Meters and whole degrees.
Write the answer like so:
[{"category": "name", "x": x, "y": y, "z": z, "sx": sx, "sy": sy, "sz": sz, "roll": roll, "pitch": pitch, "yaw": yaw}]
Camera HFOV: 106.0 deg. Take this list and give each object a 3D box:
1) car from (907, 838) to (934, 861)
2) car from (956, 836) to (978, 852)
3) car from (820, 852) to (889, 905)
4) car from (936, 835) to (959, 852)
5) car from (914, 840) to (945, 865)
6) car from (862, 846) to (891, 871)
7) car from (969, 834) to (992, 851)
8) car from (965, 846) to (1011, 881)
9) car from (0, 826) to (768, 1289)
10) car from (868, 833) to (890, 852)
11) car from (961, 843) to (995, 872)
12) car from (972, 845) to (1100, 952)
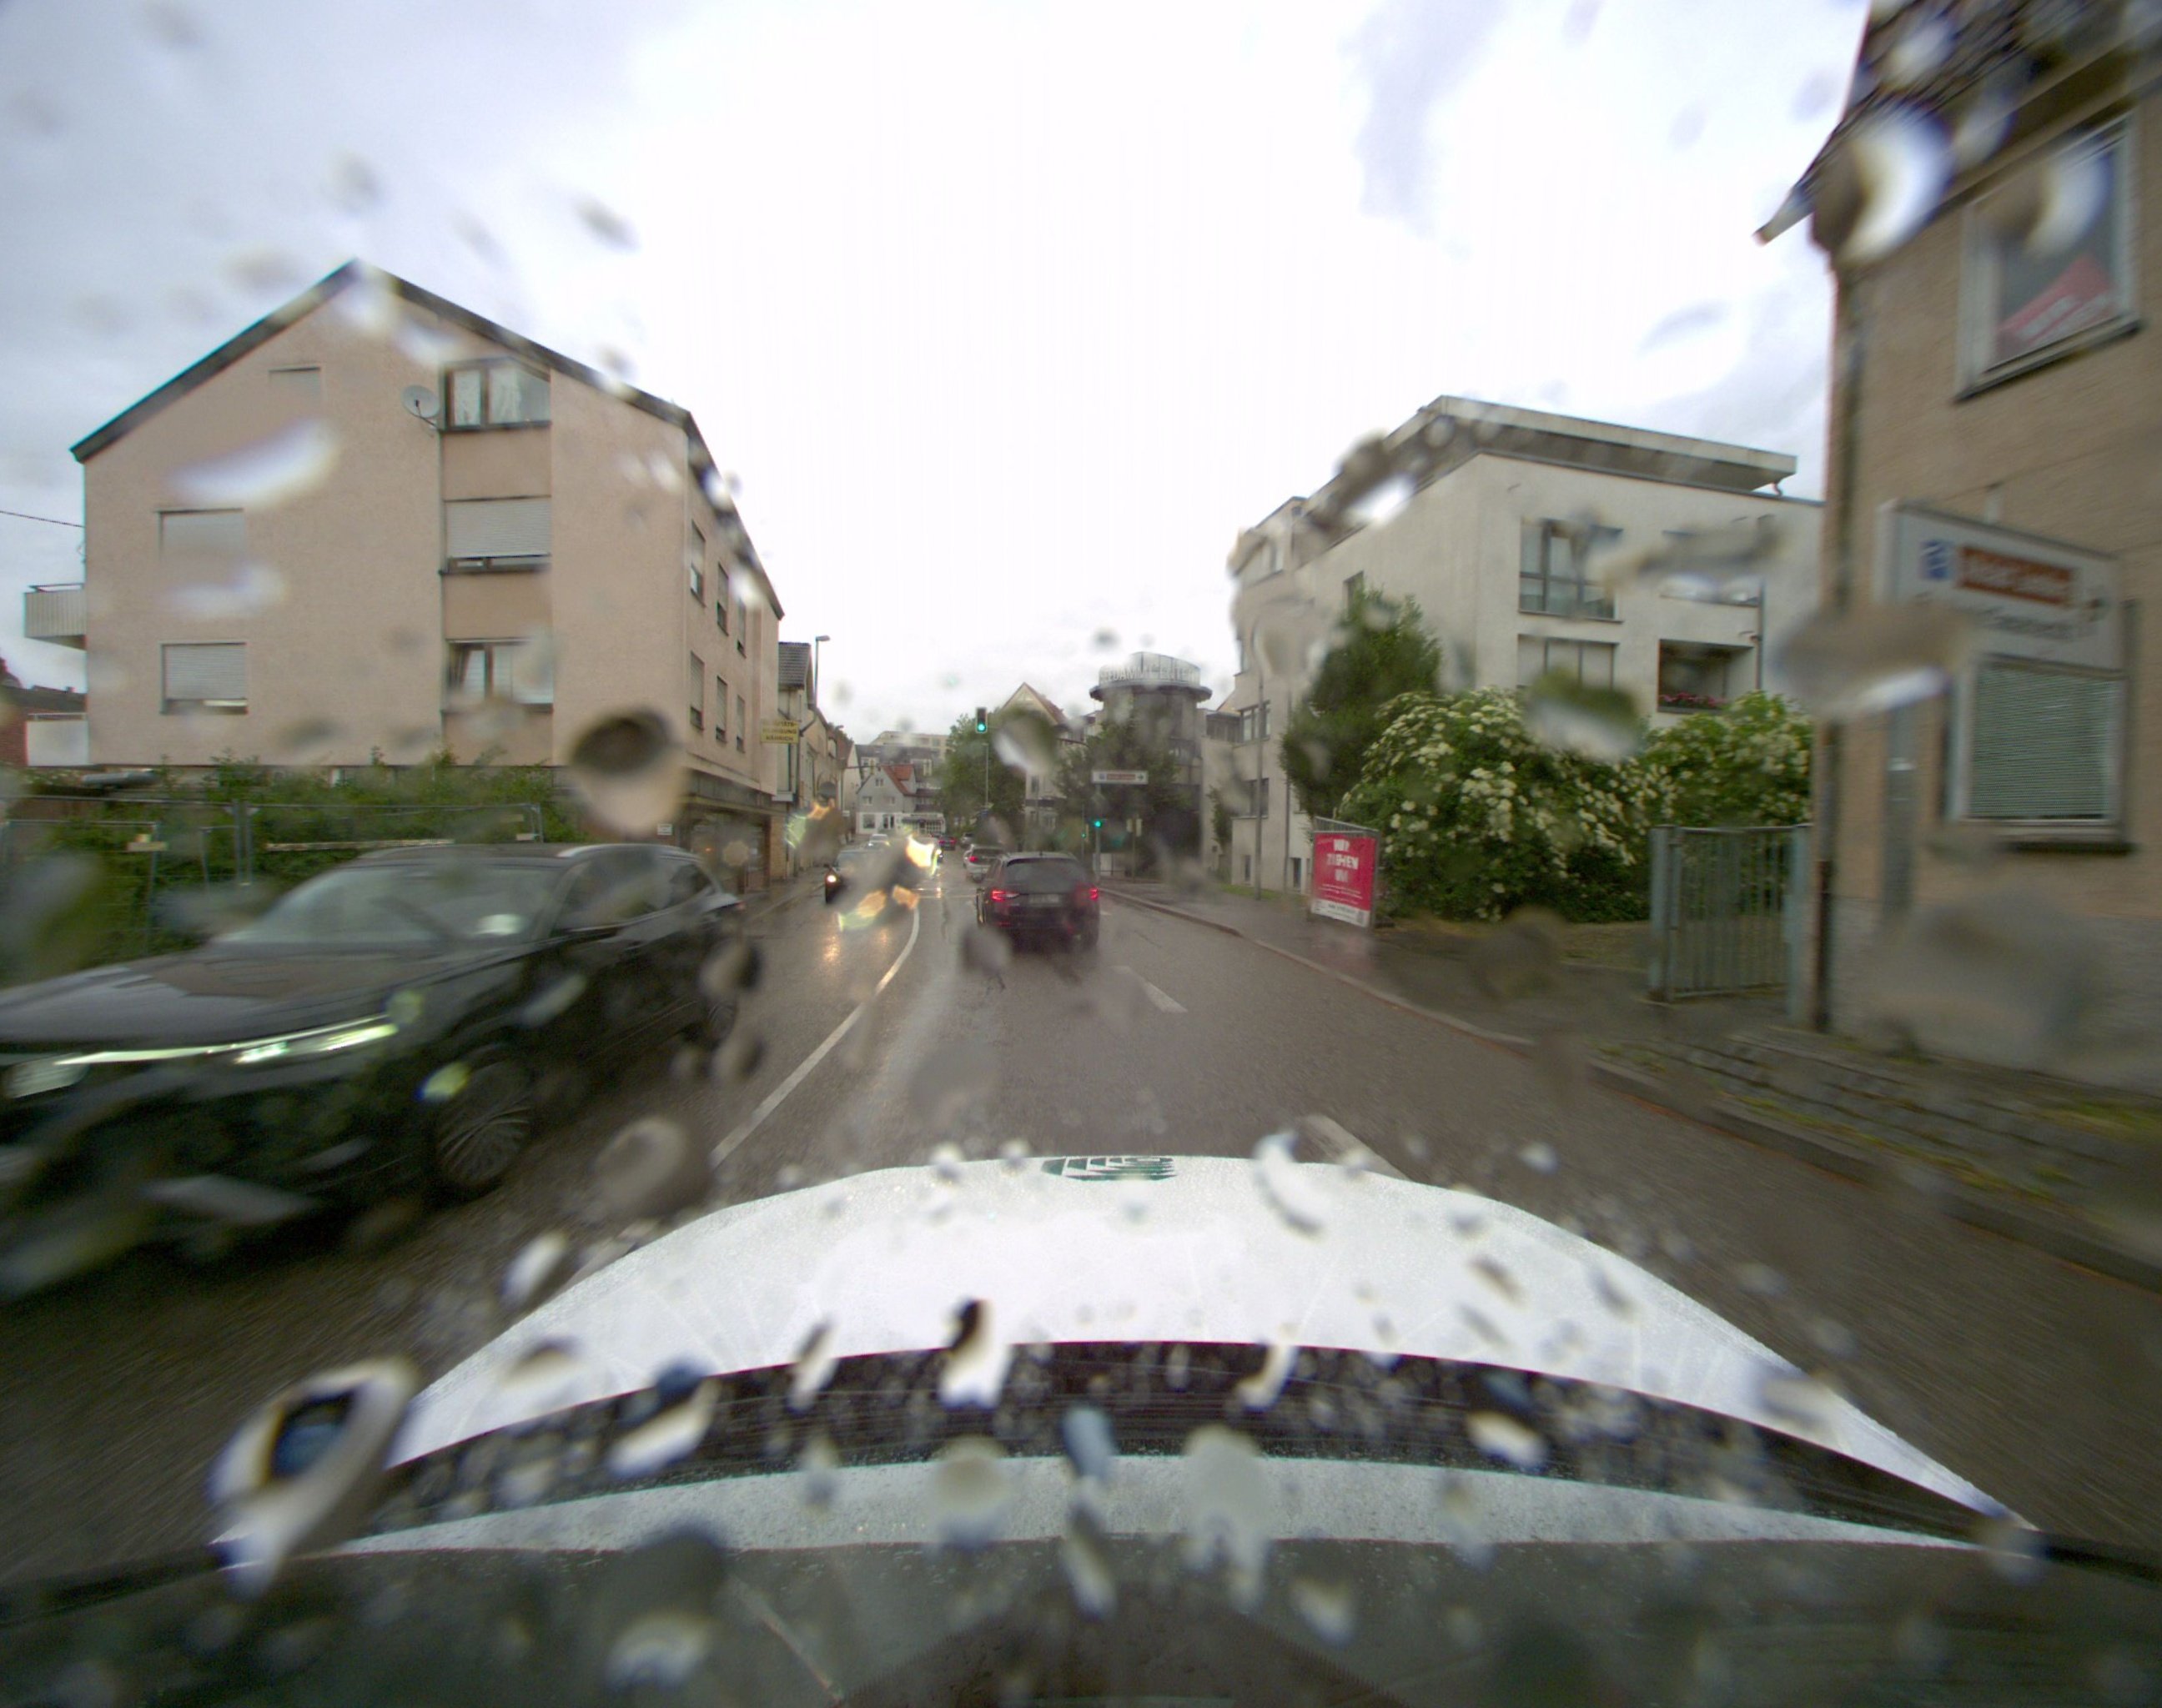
[{"category": "car", "x": -12.344, "y": -0.374, "z": 62.483, "sx": 1.787, "sy": 1.562, "sz": 4.381, "roll": 1, "pitch": 2, "yaw": -14}, {"category": "car", "x": -12.308, "y": -1.093, "z": 87.790, "sx": 1.856, "sy": 1.641, "sz": 3.851, "roll": -1, "pitch": 2, "yaw": -16}, {"category": "car", "x": -6.596, "y": 0.649, "z": 23.838, "sx": 1.773, "sy": 1.402, "sz": 3.899, "roll": -1, "pitch": 0, "yaw": -15}, {"category": "car", "x": -13.298, "y": -1.025, "z": 81.095, "sx": 1.896, "sy": 1.590, "sz": 3.670, "roll": -1, "pitch": 1, "yaw": -15}, {"category": "car", "x": -10.543, "y": -0.120, "z": 56.412, "sx": 1.787, "sy": 1.562, "sz": 4.381, "roll": 1, "pitch": 2, "yaw": -14}, {"category": "car", "x": -12.843, "y": 0.272, "z": 51.256, "sx": 1.692, "sy": 1.372, "sz": 4.095, "roll": -1, "pitch": 2, "yaw": -13}, {"category": "car", "x": -10.153, "y": -1.173, "z": 82.059, "sx": 1.856, "sy": 1.641, "sz": 3.519, "roll": -1, "pitch": 2, "yaw": -16}, {"category": "car", "x": -3.972, "y": 0.362, "z": 34.494, "sx": 1.816, "sy": 1.359, "sz": 3.979, "roll": 1, "pitch": 1, "yaw": -8}, {"category": "car", "x": -3.666, "y": 0.718, "z": 5.072, "sx": 1.889, "sy": 1.595, "sz": 4.350, "roll": -2, "pitch": 0, "yaw": -3}, {"category": "car", "x": -17.164, "y": -0.985, "z": 69.114, "sx": 1.787, "sy": 1.560, "sz": 4.317, "roll": 0, "pitch": 2, "yaw": -14}, {"category": "car", "x": -6.202, "y": 0.243, "z": 48.709, "sx": 1.728, "sy": 1.591, "sz": 4.168, "roll": 2, "pitch": -2, "yaw": -11}, {"category": "car", "x": -0.927, "y": 0.622, "z": 14.042, "sx": 1.781, "sy": 1.483, "sz": 4.234, "roll": -2, "pitch": 1, "yaw": -9}]
